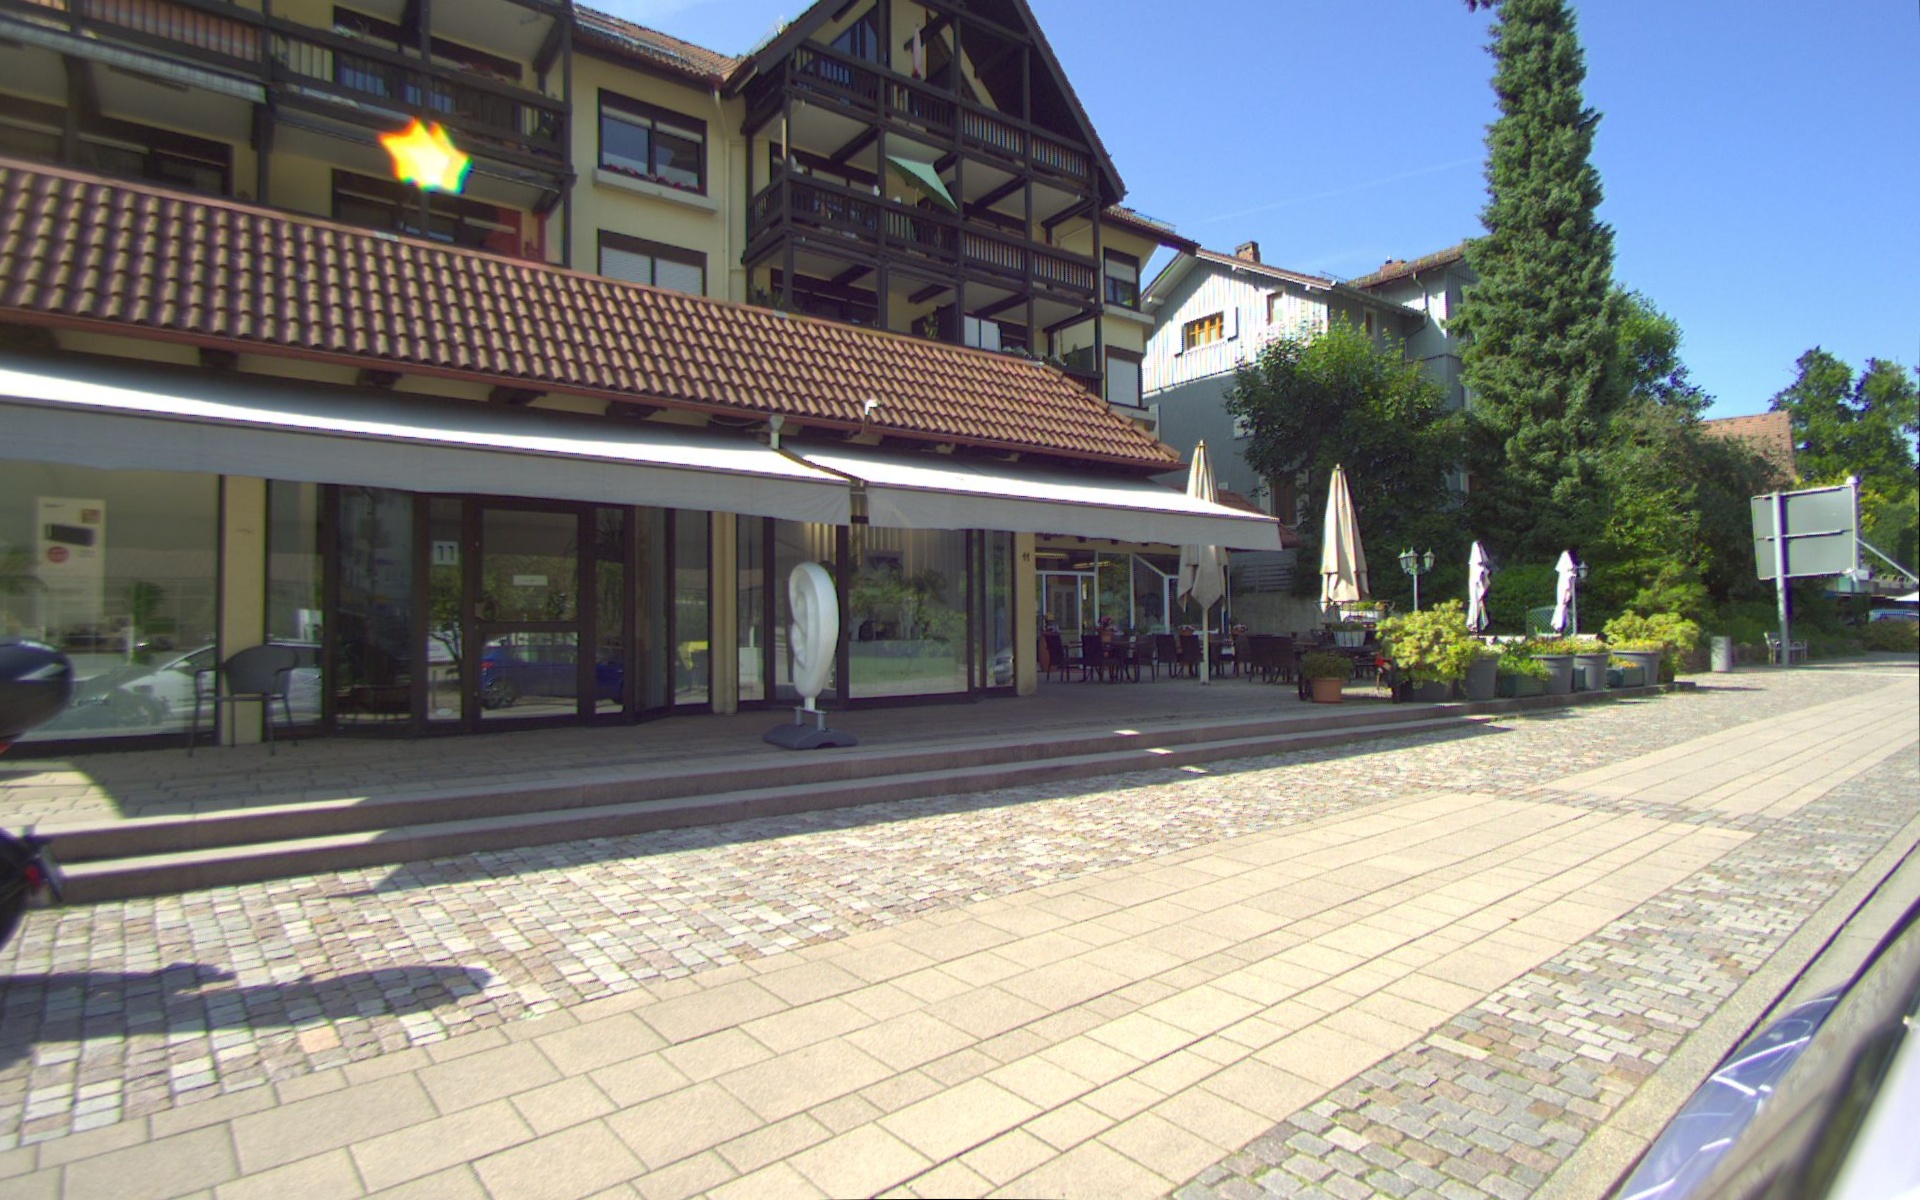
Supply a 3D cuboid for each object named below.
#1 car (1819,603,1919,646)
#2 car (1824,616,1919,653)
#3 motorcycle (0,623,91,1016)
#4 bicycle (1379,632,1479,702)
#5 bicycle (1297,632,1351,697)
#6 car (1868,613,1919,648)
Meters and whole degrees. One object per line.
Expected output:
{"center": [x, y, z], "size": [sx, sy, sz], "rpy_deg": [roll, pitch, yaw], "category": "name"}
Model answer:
{"center": [35.638, 0.934, 38.770], "size": [1.717, 1.600, 3.882], "rpy_deg": [1, -2, -40], "category": "car"}
{"center": [37.318, 1.356, 40.291], "size": [1.715, 1.433, 4.122], "rpy_deg": [0, -1, -35], "category": "car"}
{"center": [-4.140, 0.749, 3.135], "size": [2.173, 1.312, 0.698], "rpy_deg": [1, 0, -41], "category": "motorcycle"}
{"center": [6.355, 0.887, 13.680], "size": [1.584, 0.875, 0.397], "rpy_deg": [0, -2, -32], "category": "bicycle"}
{"center": [5.258, 0.910, 14.576], "size": [0.394, 0.853, 1.598], "rpy_deg": [-3, -2, 31], "category": "bicycle"}
{"center": [39.991, 1.222, 41.173], "size": [1.677, 1.396, 4.275], "rpy_deg": [0, -1, -35], "category": "car"}
